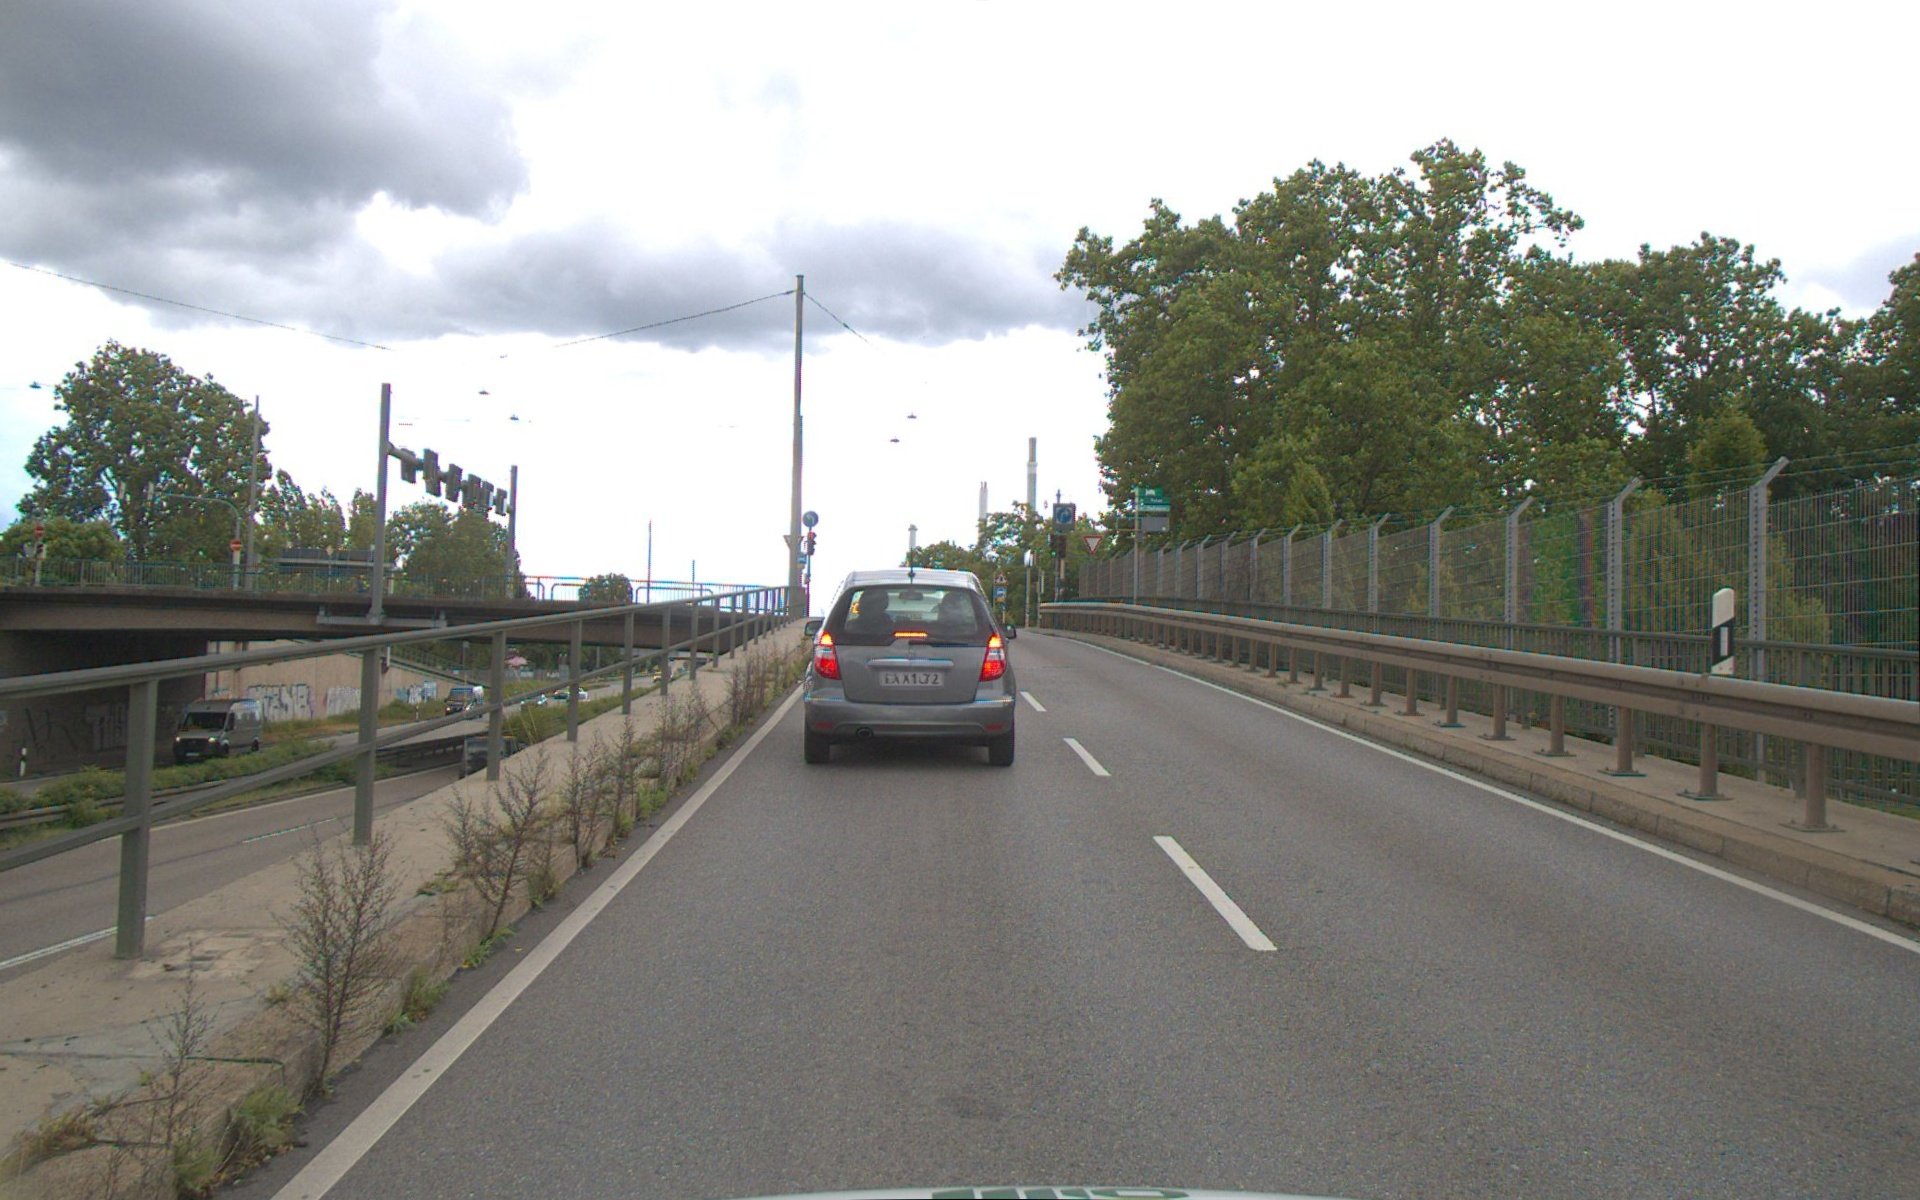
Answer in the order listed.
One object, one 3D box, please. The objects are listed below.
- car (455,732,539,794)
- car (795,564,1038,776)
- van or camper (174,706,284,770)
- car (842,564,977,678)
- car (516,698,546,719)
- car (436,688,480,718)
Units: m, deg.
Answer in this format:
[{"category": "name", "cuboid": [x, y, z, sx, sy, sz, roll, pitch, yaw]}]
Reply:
[{"category": "car", "cuboid": [-14.974, 5.257, 53.675, 1.646, 1.766, 3.997, 0, -3, -1]}, {"category": "car", "cuboid": [-0.245, 0.540, 14.829, 1.713, 1.608, 4.087, 1, 0, 5]}, {"category": "van or camper", "cuboid": [-31.559, 5.917, 71.660, 2.139, 2.500, 6.343, 1, -3, -3]}, {"category": "car", "cuboid": [-0.783, 0.262, 25.932, 1.953, 1.631, 3.999, 0, 2, -2]}, {"category": "car", "cuboid": [-36.623, 9.249, 141.191, 1.956, 1.719, 3.993, 0, -2, -8]}, {"category": "car", "cuboid": [-38.149, 7.825, 125.940, 2.247, 2.193, 6.170, 0, -3, -8]}]
